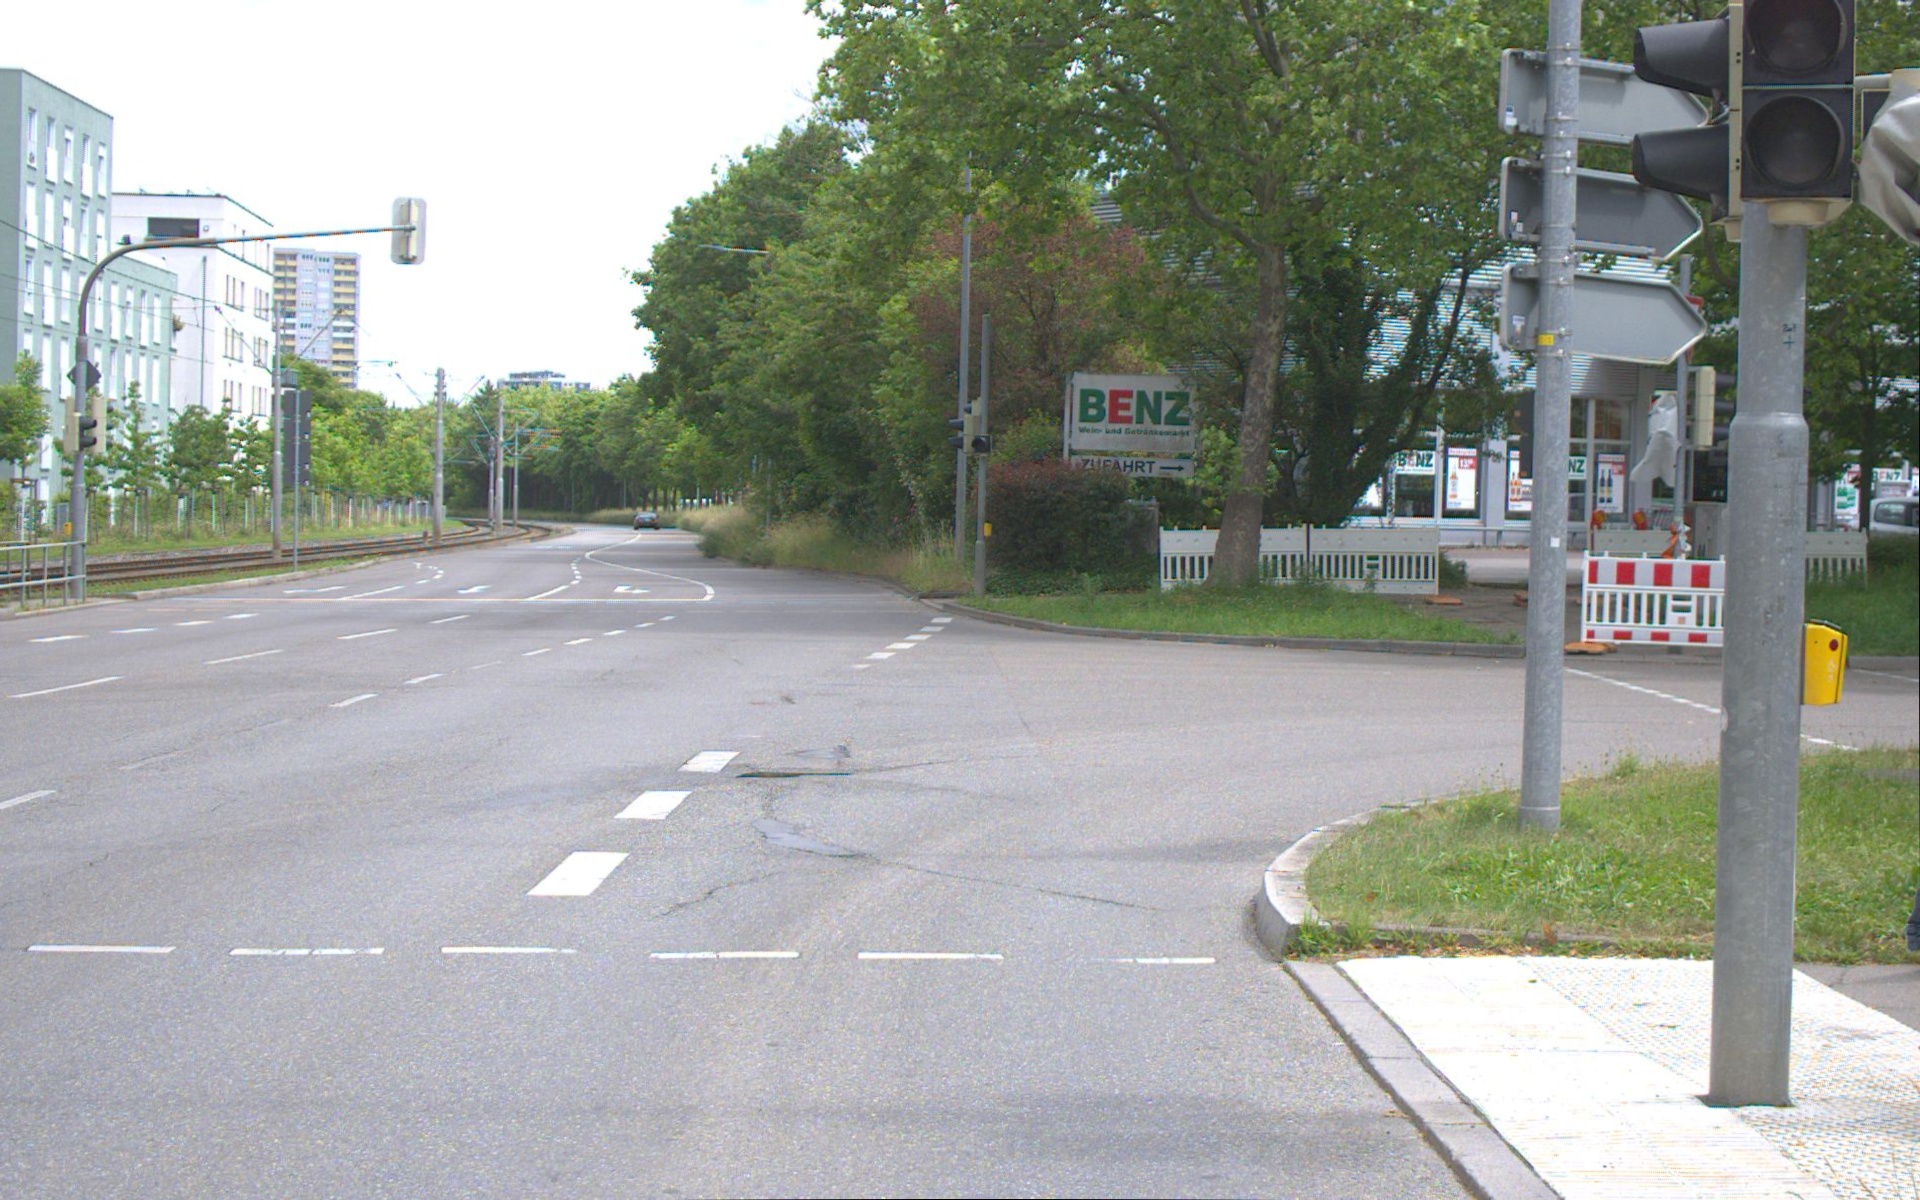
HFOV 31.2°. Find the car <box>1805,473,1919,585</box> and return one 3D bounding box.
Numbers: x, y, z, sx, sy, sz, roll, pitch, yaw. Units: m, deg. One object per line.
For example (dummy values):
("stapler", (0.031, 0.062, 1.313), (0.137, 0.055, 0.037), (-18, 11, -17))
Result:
("car", (17.712, -1.302, 63.127), (1.993, 2.007, 4.000), (0, 2, -32))

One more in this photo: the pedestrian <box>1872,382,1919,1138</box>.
("pedestrian", (2.849, 0.378, 8.178), (1.012, 1.768, 0.946), (2, 2, 36))

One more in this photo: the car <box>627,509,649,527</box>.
("car", (-24.537, -6.256, 262.271), (1.594, 1.349, 4.001), (1, 1, -5))

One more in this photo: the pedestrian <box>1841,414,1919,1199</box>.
("pedestrian", (2.030, 0.511, 6.157), (0.823, 1.665, 0.733), (1, 2, 17))
